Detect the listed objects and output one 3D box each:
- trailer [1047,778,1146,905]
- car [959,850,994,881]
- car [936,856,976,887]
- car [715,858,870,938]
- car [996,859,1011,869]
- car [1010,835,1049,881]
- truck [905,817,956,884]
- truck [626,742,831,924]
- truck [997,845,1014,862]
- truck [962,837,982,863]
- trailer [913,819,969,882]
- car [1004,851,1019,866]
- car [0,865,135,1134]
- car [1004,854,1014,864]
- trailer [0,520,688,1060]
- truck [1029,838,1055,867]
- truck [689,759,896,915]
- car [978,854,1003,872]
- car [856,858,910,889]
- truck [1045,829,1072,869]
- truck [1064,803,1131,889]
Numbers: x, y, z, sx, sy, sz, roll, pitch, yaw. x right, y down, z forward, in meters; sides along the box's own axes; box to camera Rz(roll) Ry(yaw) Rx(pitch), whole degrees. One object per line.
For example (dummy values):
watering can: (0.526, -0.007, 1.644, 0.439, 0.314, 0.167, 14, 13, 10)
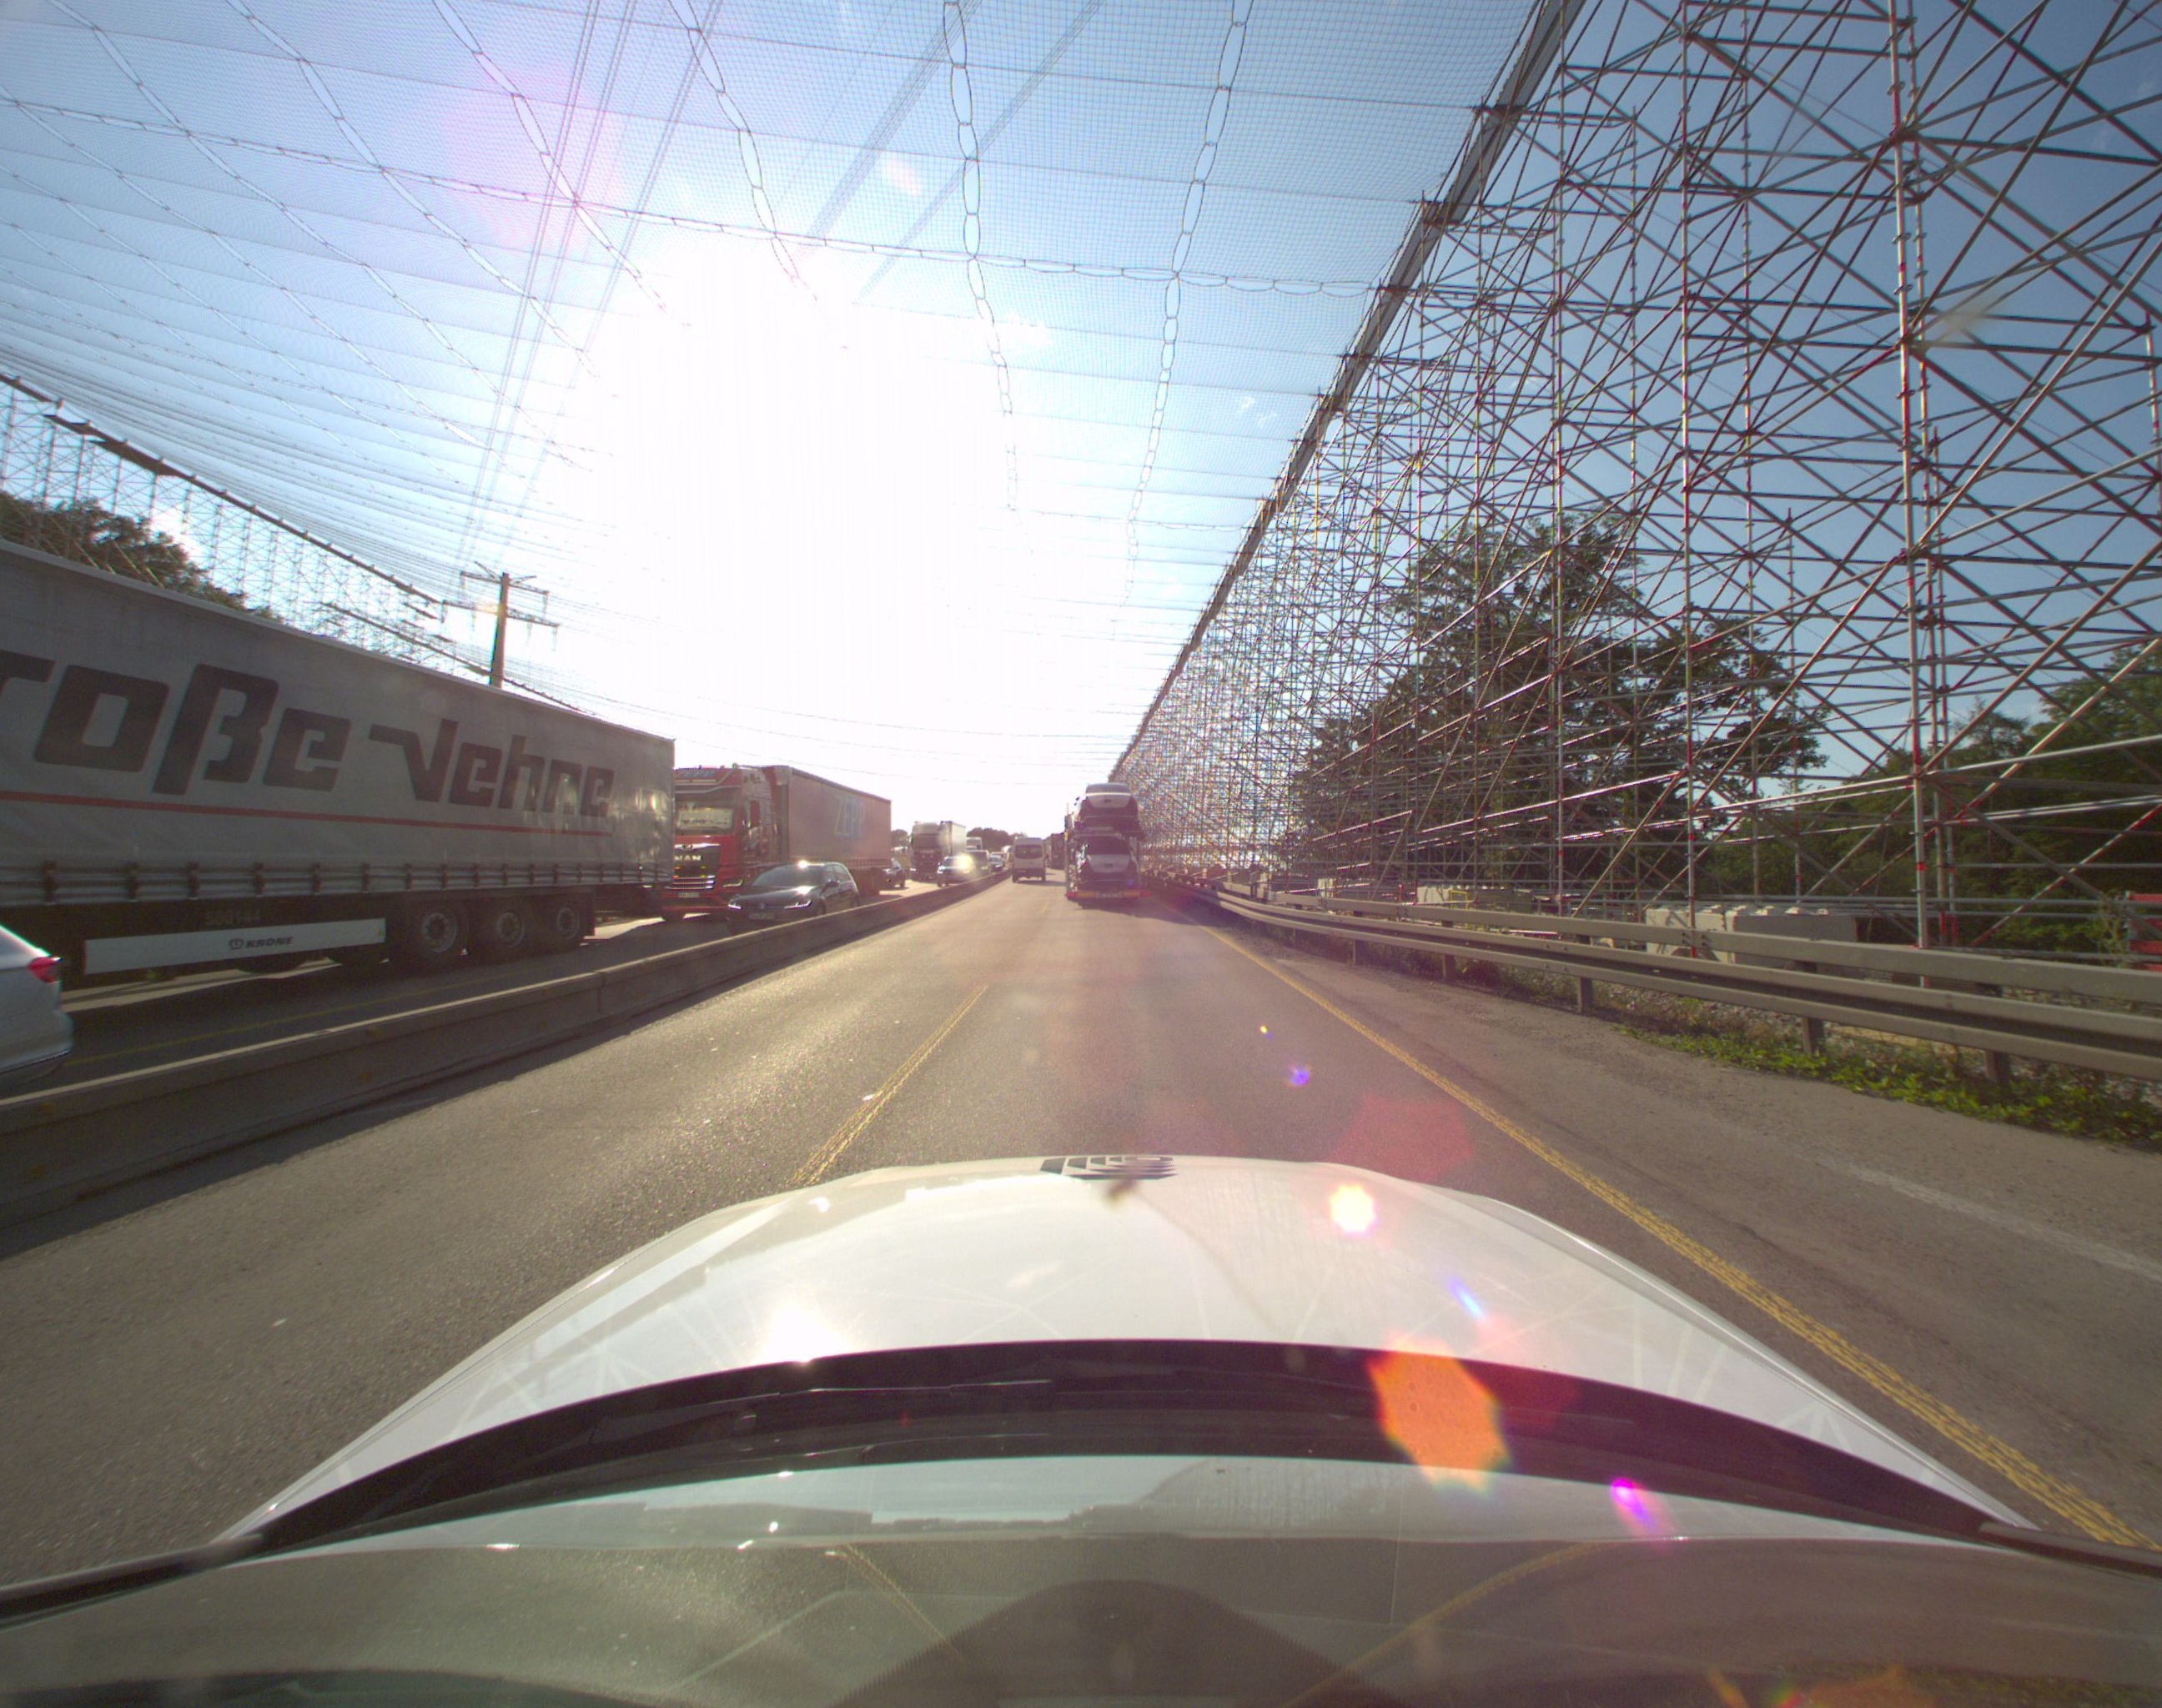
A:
trailer: (0.622, -0.287, 31.536, 2.858, 3.725, 14.950, -1, -1, 1)
car: (-6.922, 0.734, 54.282, 1.870, 1.935, 4.857, 0, 0, -2)
car: (-6.581, 0.890, 43.203, 1.739, 1.535, 4.262, 0, 0, -4)
car: (-5.948, 0.839, 17.395, 1.644, 1.464, 4.401, 1, 0, 1)
car: (-11.187, 1.459, 117.823, 1.837, 1.453, 3.986, 1, 0, -10)
car: (-3.104, 0.272, 48.423, 1.955, 2.621, 3.988, -1, -1, -8)
truck: (-10.101, -0.209, 55.182, 2.658, 4.230, 6.095, -1, 0, -4)
truck: (-9.055, -0.457, 21.928, 2.780, 4.141, 6.673, -1, -1, -2)
truck: (-17.056, -0.197, 183.596, 2.619, 3.723, 9.617, 1, 0, -13)
truck: (-15.334, -0.513, 114.503, 2.593, 3.473, 12.358, 1, 0, -8)
trailer: (-10.483, -0.241, 62.426, 2.648, 4.233, 13.901, 1, 0, -4)
car: (-9.093, 0.566, 106.862, 1.832, 1.893, 3.996, 1, 0, -3)
car: (-6.738, 0.808, 2.573, 1.725, 1.439, 4.839, -2, 0, 2)
car: (-12.268, 0.916, 138.407, 1.708, 1.618, 3.496, -1, -1, -5)
trailer: (-9.615, -0.446, 9.756, 2.789, 4.141, 13.968, -1, -1, 1)
truck: (-6.161, -0.215, 131.800, 3.677, 4.220, 13.660, -3, 0, -1)
truck: (-9.265, -0.395, 28.656, 2.780, 4.141, 13.796, -1, -1, -2)
car: (-7.640, 0.736, 68.976, 1.780, 1.502, 4.749, 1, 0, -3)
car: (-9.848, 0.926, 40.783, 1.716, 1.447, 4.136, 0, 0, -1)
truck: (-2.724, -0.595, 95.075, 2.726, 4.385, 11.507, 0, 0, -3)
truck: (0.781, -0.313, 39.021, 2.872, 3.702, 7.325, -1, -1, 1)
